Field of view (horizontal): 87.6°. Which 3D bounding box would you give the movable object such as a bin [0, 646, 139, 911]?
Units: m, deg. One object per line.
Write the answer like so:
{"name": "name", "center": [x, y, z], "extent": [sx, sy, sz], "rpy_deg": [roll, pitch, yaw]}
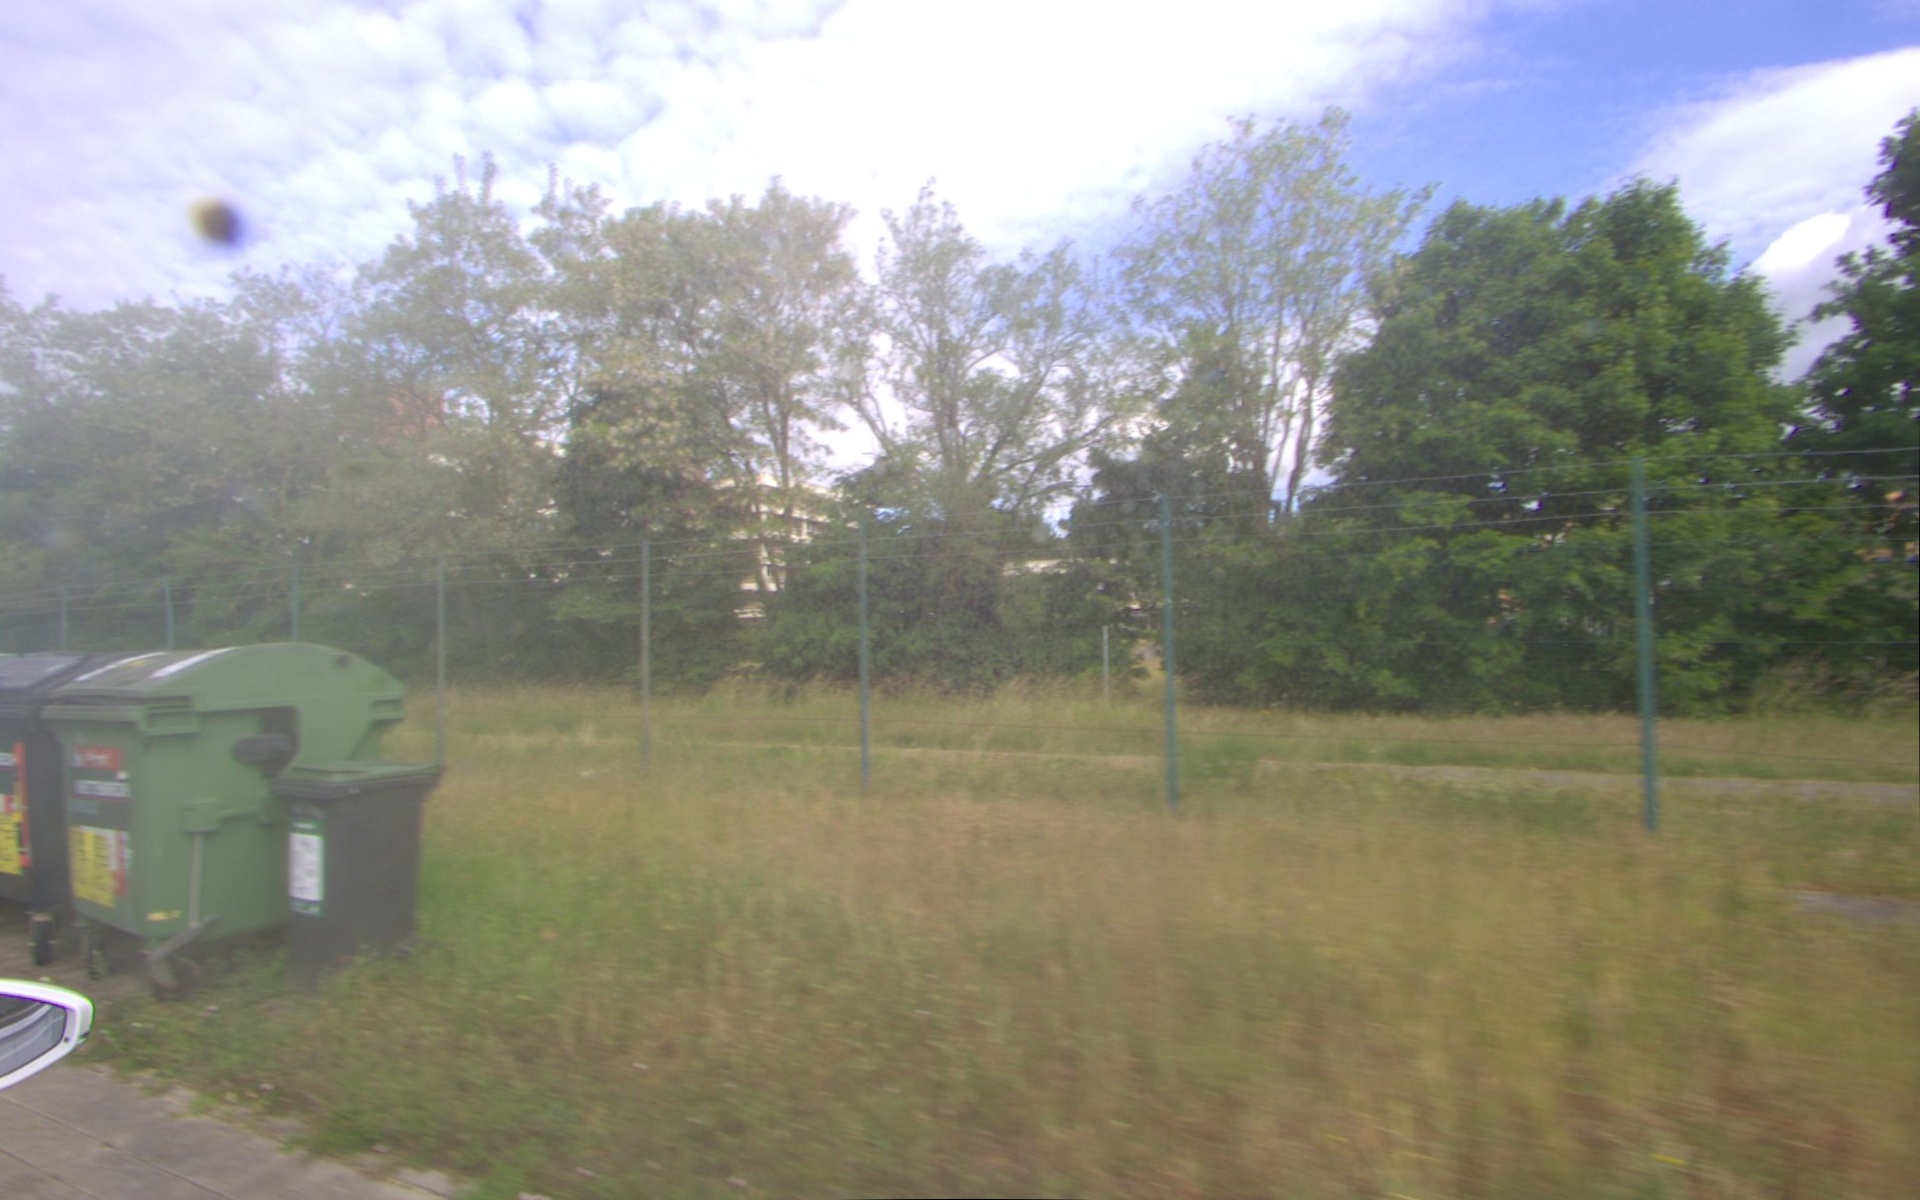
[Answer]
{"name": "movable object such as a bin", "center": [-5.738, 0.997, 5.828], "extent": [1.365, 1.423, 1.068], "rpy_deg": [-3, -3, 29]}

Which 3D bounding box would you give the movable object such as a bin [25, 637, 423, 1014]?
{"name": "movable object such as a bin", "center": [-3.381, 0.897, 4.626], "extent": [1.339, 1.413, 1.125], "rpy_deg": [-3, -3, 35]}

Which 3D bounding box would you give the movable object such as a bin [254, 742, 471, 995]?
{"name": "movable object such as a bin", "center": [-2.487, 1.066, 4.184], "extent": [0.578, 0.876, 0.598], "rpy_deg": [-3, -3, 35]}

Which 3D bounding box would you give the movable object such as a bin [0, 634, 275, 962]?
{"name": "movable object such as a bin", "center": [-4.548, 0.930, 5.270], "extent": [1.377, 1.452, 1.068], "rpy_deg": [-3, -3, 29]}
